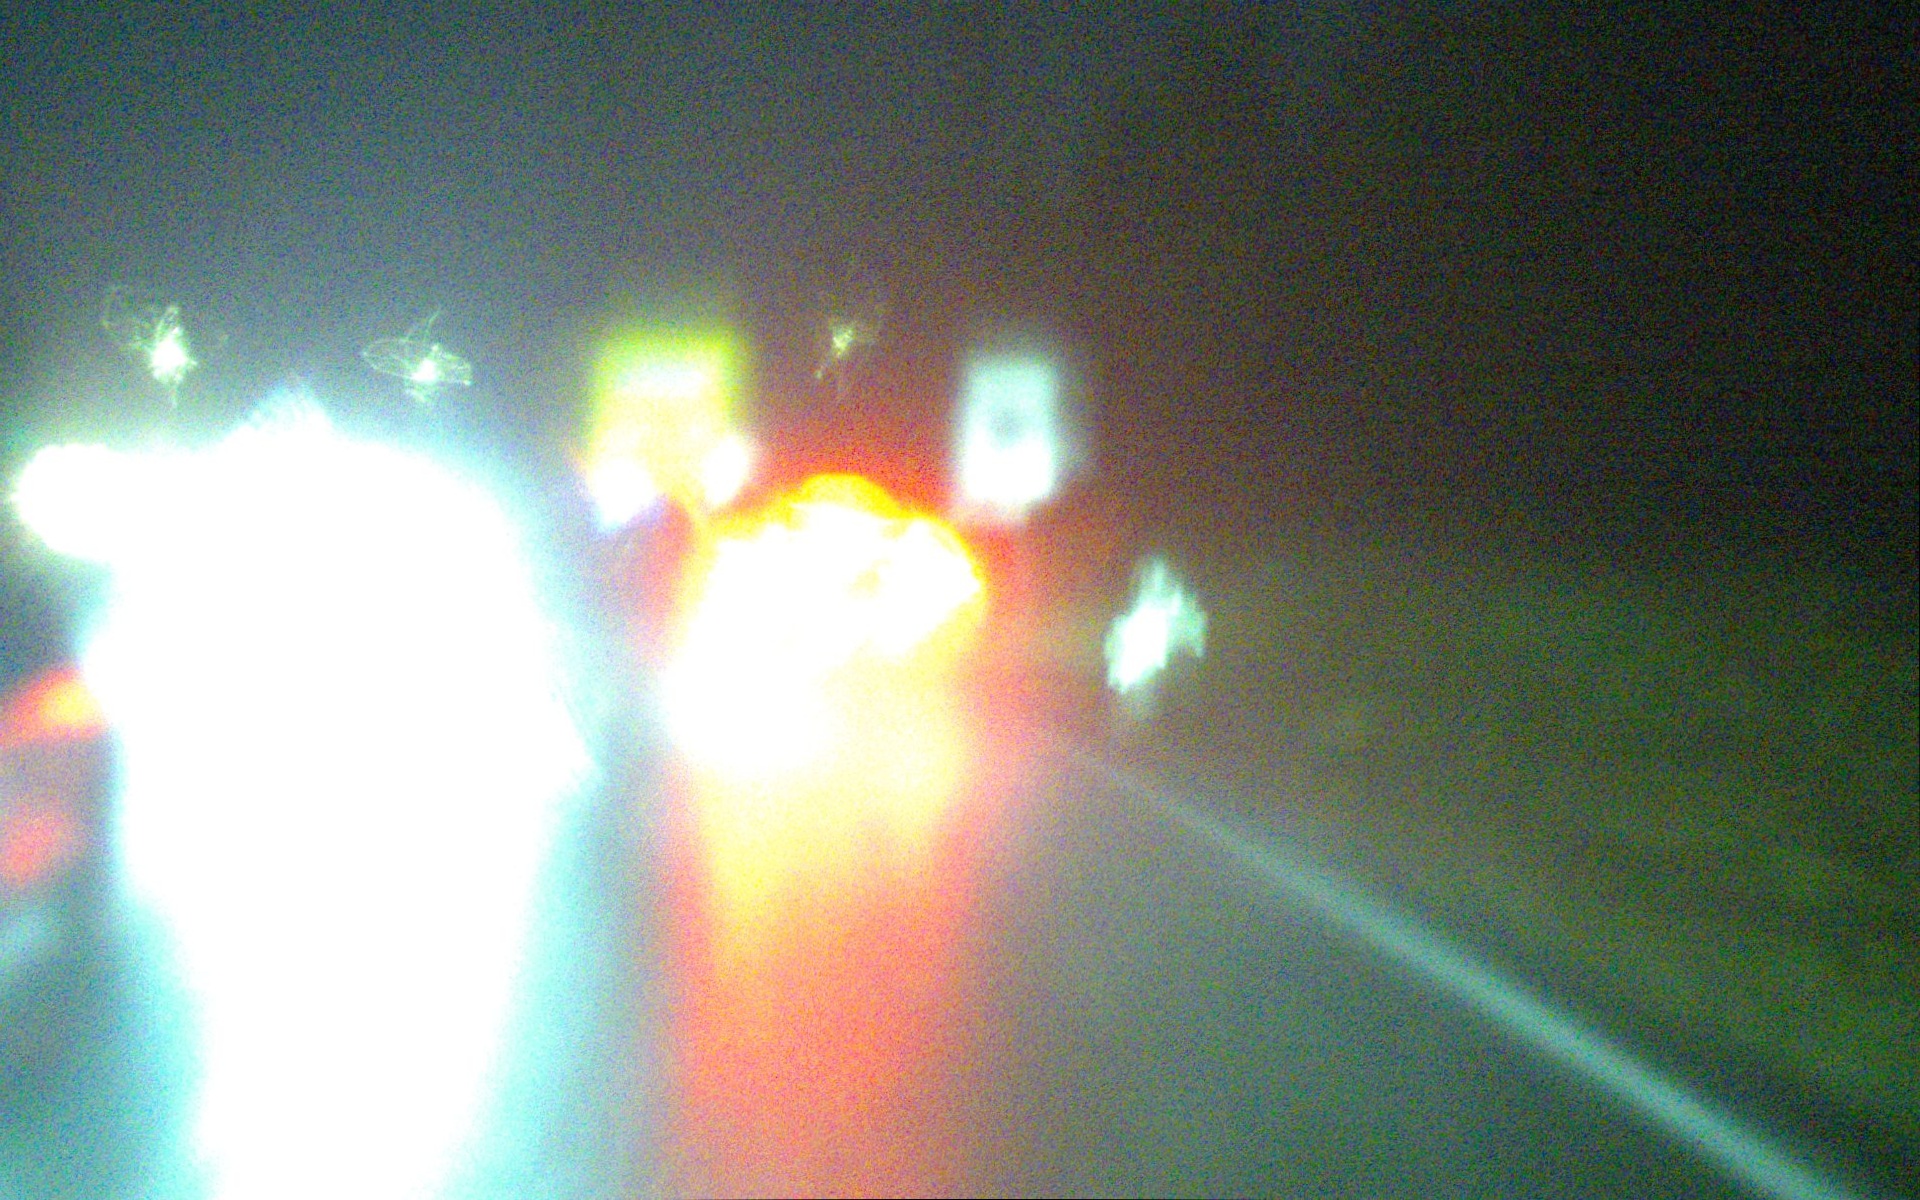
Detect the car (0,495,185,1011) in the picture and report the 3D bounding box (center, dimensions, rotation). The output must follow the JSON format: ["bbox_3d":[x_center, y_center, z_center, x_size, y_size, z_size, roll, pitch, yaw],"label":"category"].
[{"bbox_3d":[-3.989,0.474,11.507,1.930,1.579,4.985,-2,1,-4],"label":"car"}]

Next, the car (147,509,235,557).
[{"bbox_3d":[-24.204,-2.128,108.165,1.771,1.478,4.382,0,2,-25],"label":"car"}]

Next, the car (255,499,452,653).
[{"bbox_3d":[-7.316,-0.316,41.886,1.993,1.702,4.985,-2,1,-6],"label":"car"}]

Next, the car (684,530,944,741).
[{"bbox_3d":[-1.357,0.236,29.795,1.993,1.622,4.986,1,2,-5],"label":"car"}]
